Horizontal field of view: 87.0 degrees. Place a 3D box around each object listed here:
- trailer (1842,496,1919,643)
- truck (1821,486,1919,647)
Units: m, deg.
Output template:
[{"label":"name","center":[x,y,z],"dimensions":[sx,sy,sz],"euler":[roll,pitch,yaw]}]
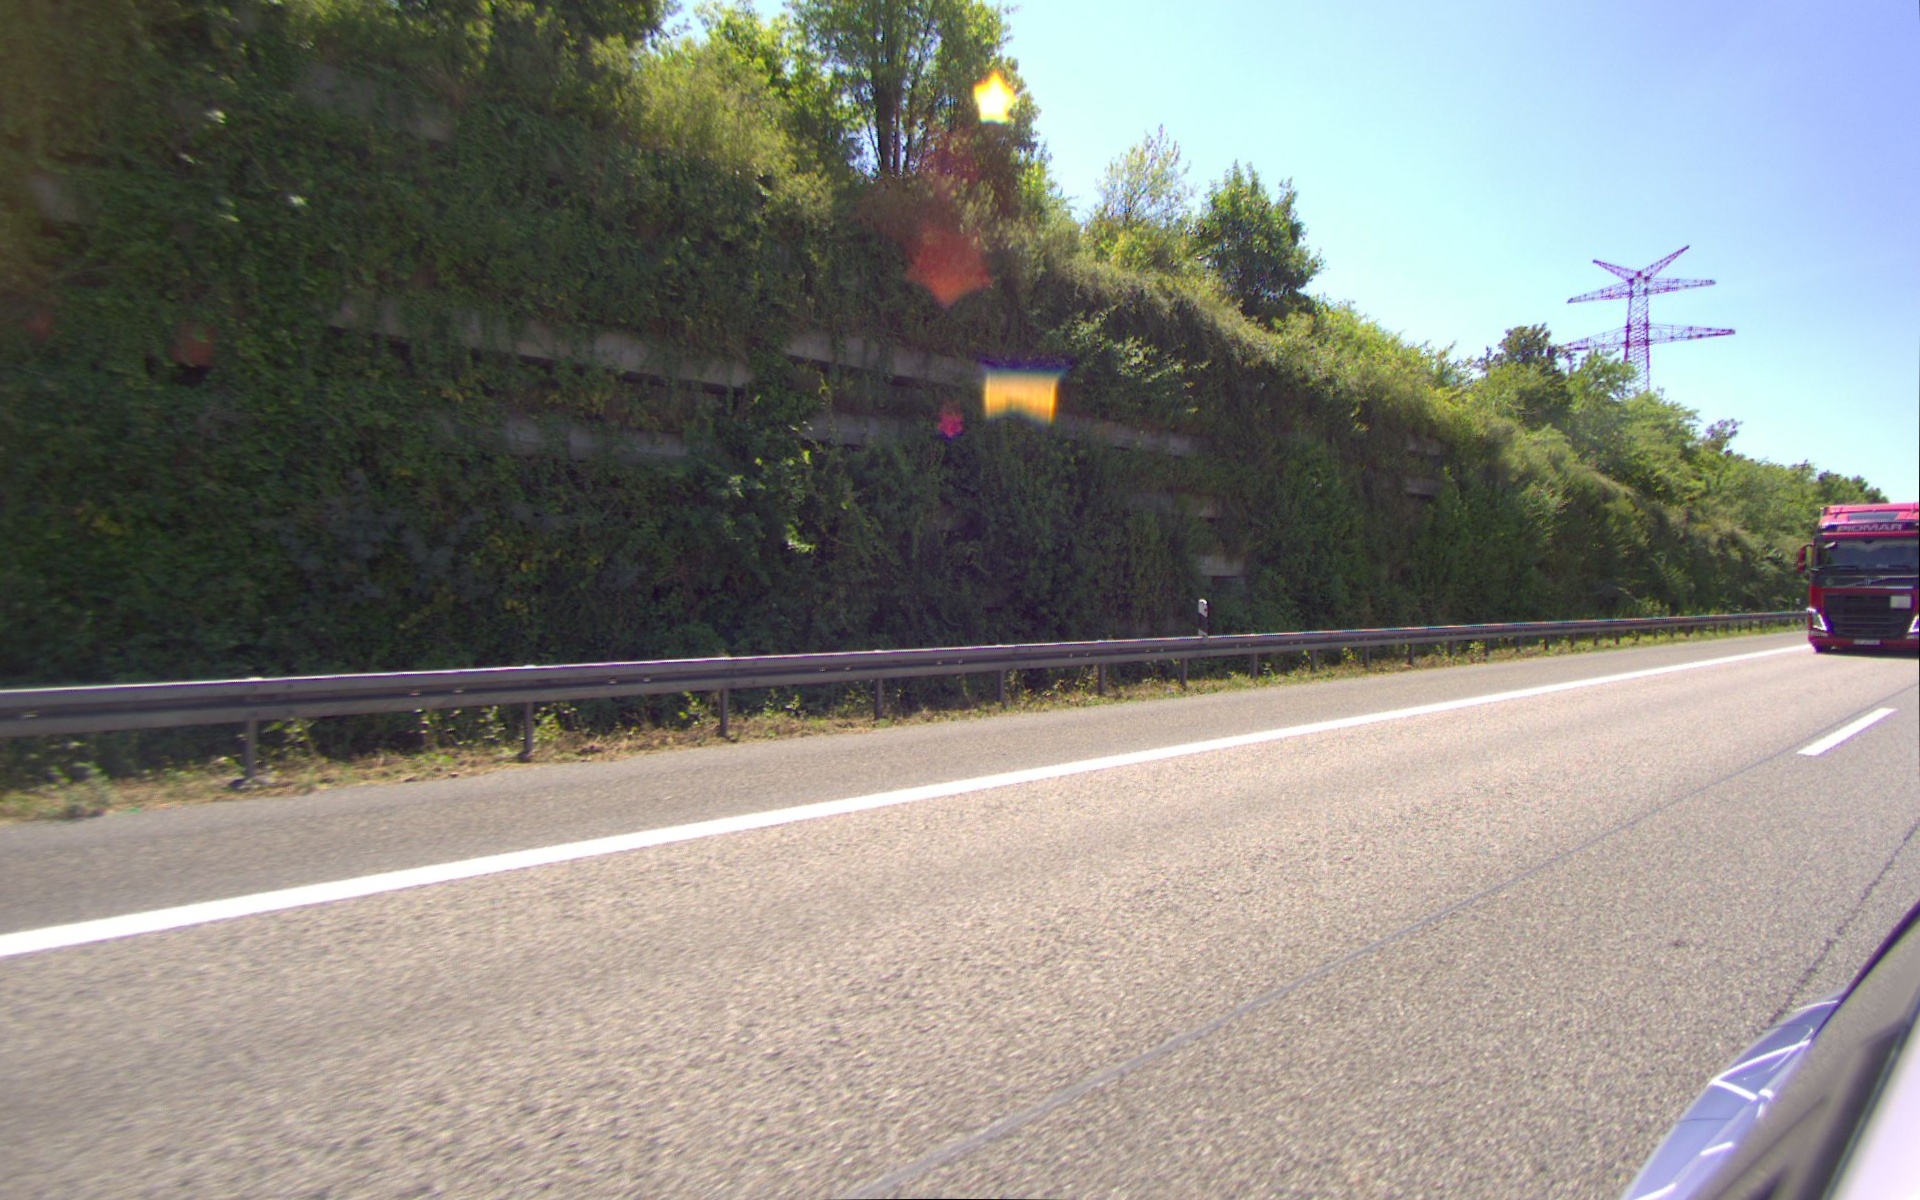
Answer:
[{"label":"trailer","center":[30.806,-0.880,32.179],"dimensions":[14.000,3.959,2.494],"euler":[0,1,-42]},{"label":"truck","center":[25.772,-0.849,27.655],"dimensions":[6.974,3.969,2.503],"euler":[0,0,-42]}]
